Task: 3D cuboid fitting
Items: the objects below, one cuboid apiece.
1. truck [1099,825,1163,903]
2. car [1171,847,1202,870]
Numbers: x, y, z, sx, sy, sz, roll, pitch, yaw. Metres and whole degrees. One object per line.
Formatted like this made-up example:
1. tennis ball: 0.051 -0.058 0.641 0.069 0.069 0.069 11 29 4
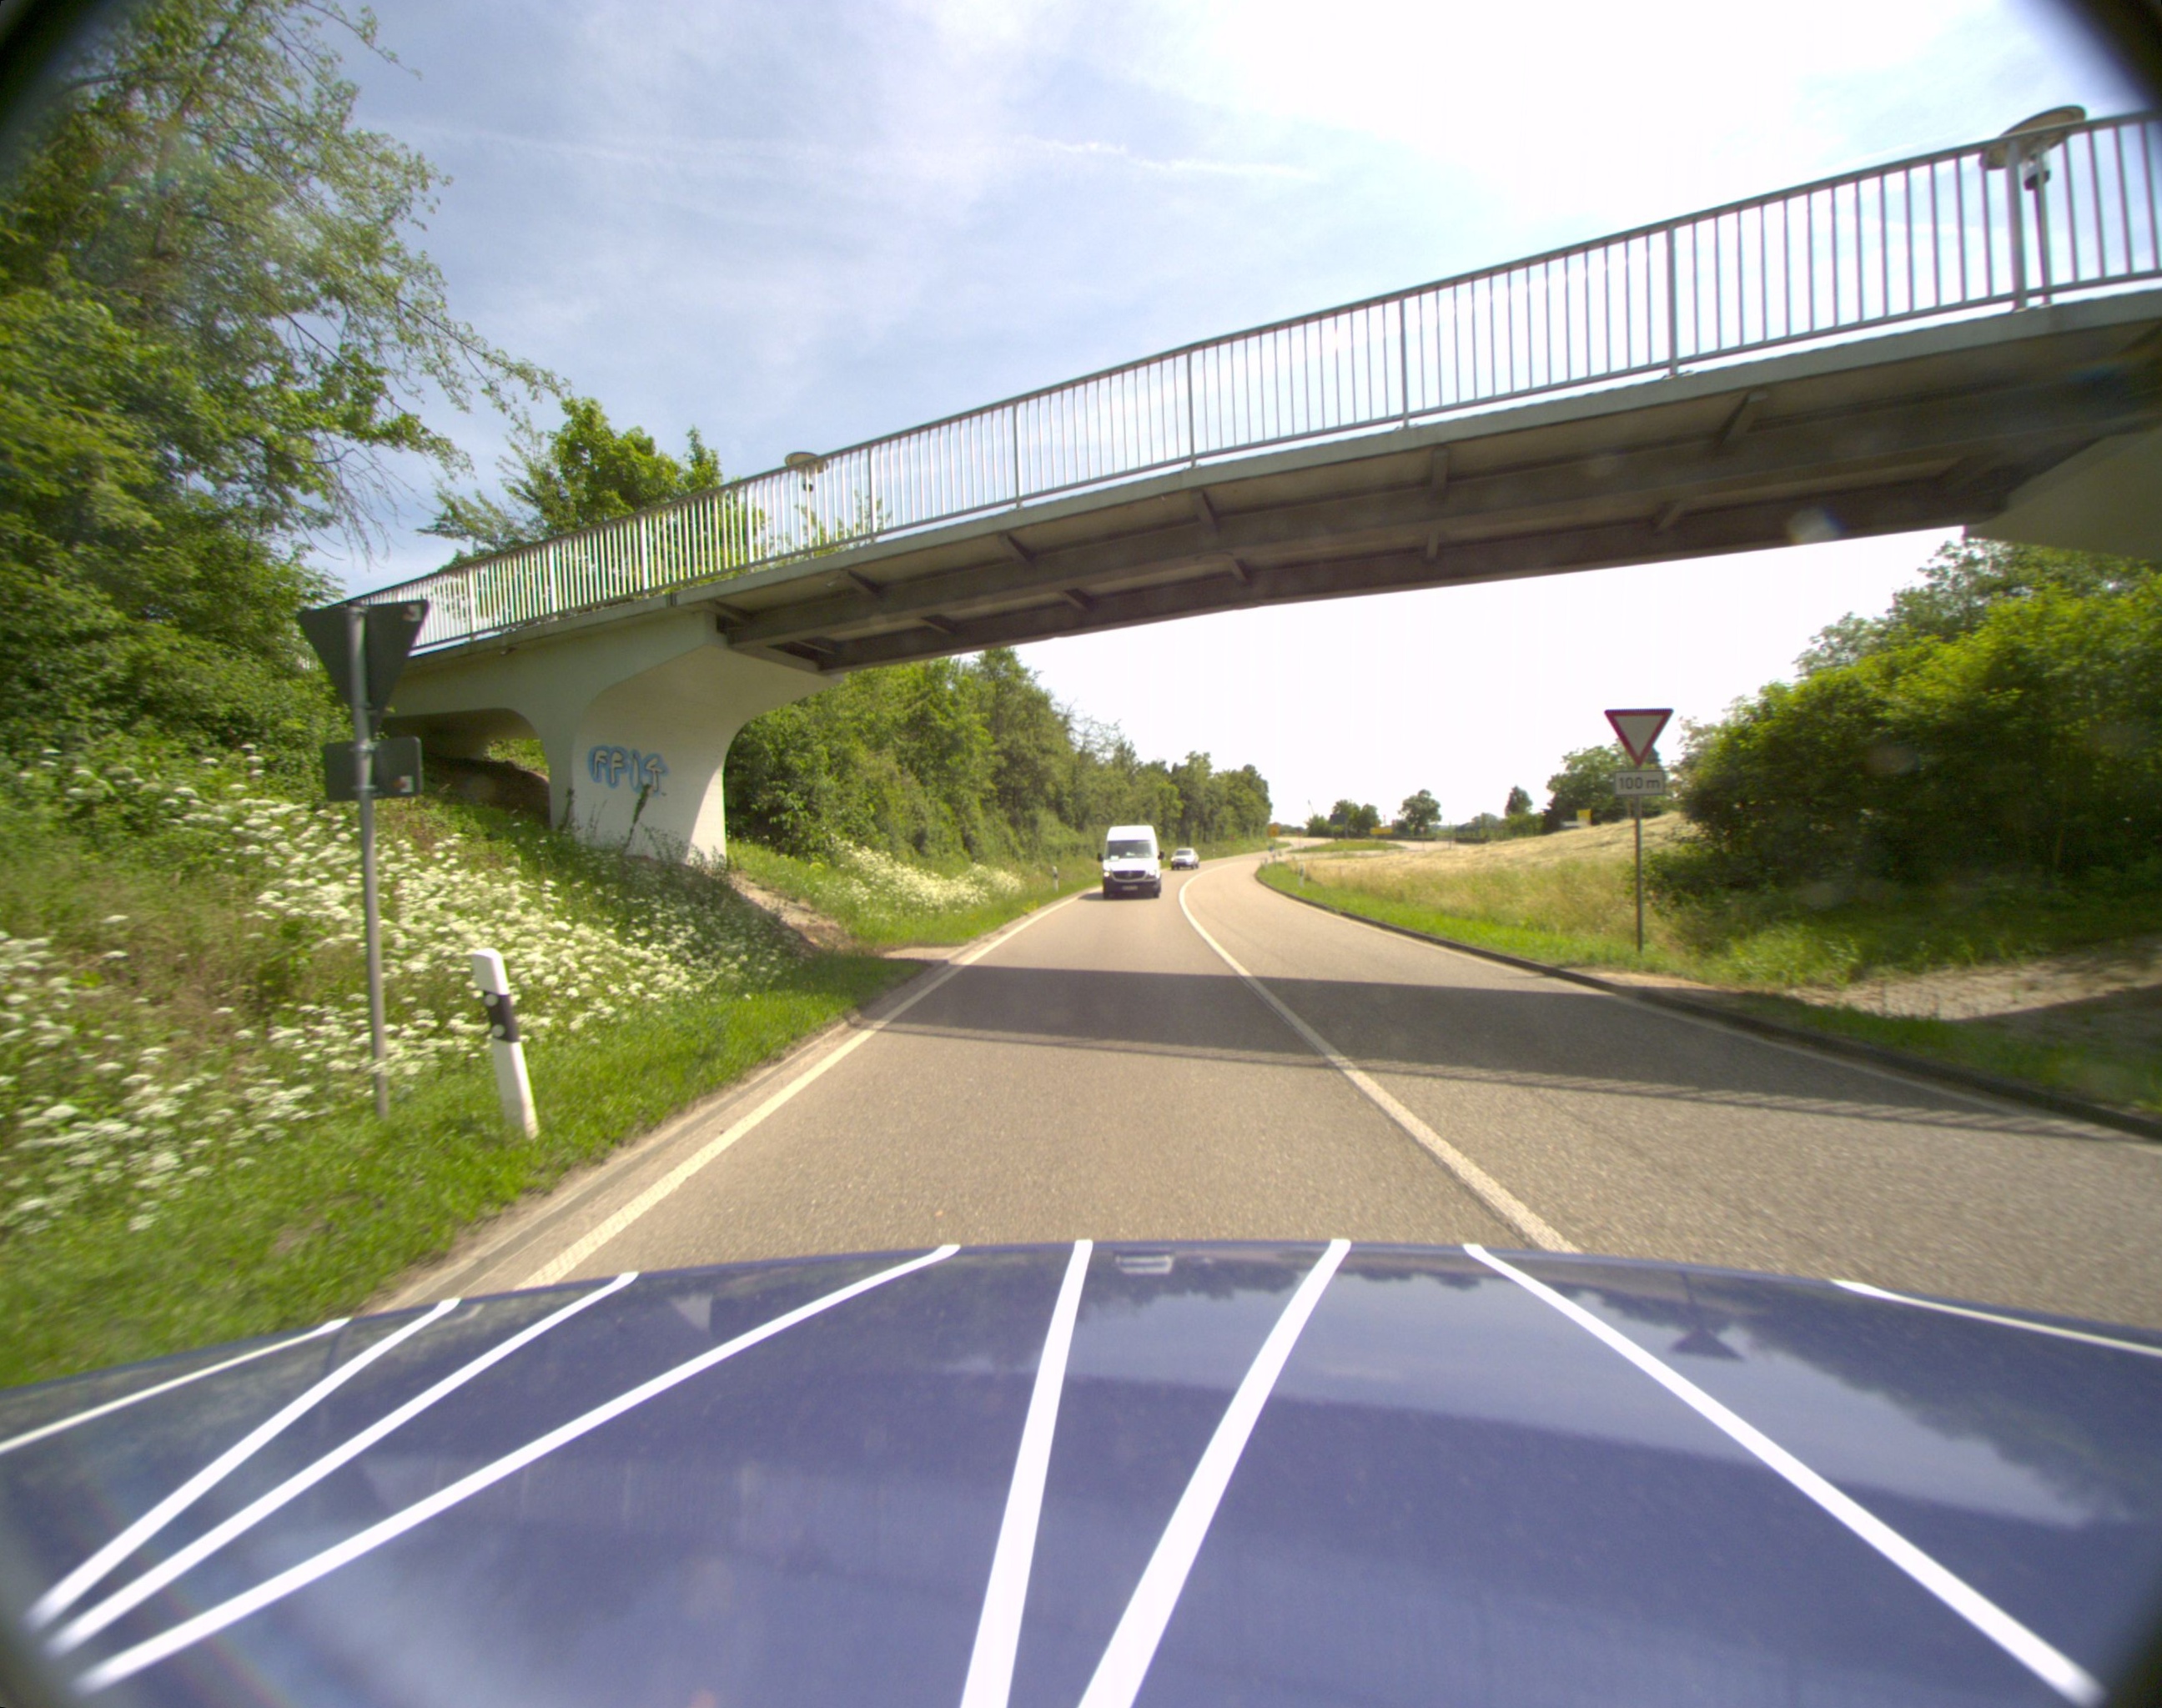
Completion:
1. truck: 1.979 0.316 28.302 1.997 2.571 5.890 -1 0 7
2. car: 8.518 0.334 61.065 1.847 1.698 4.093 -2 1 15
